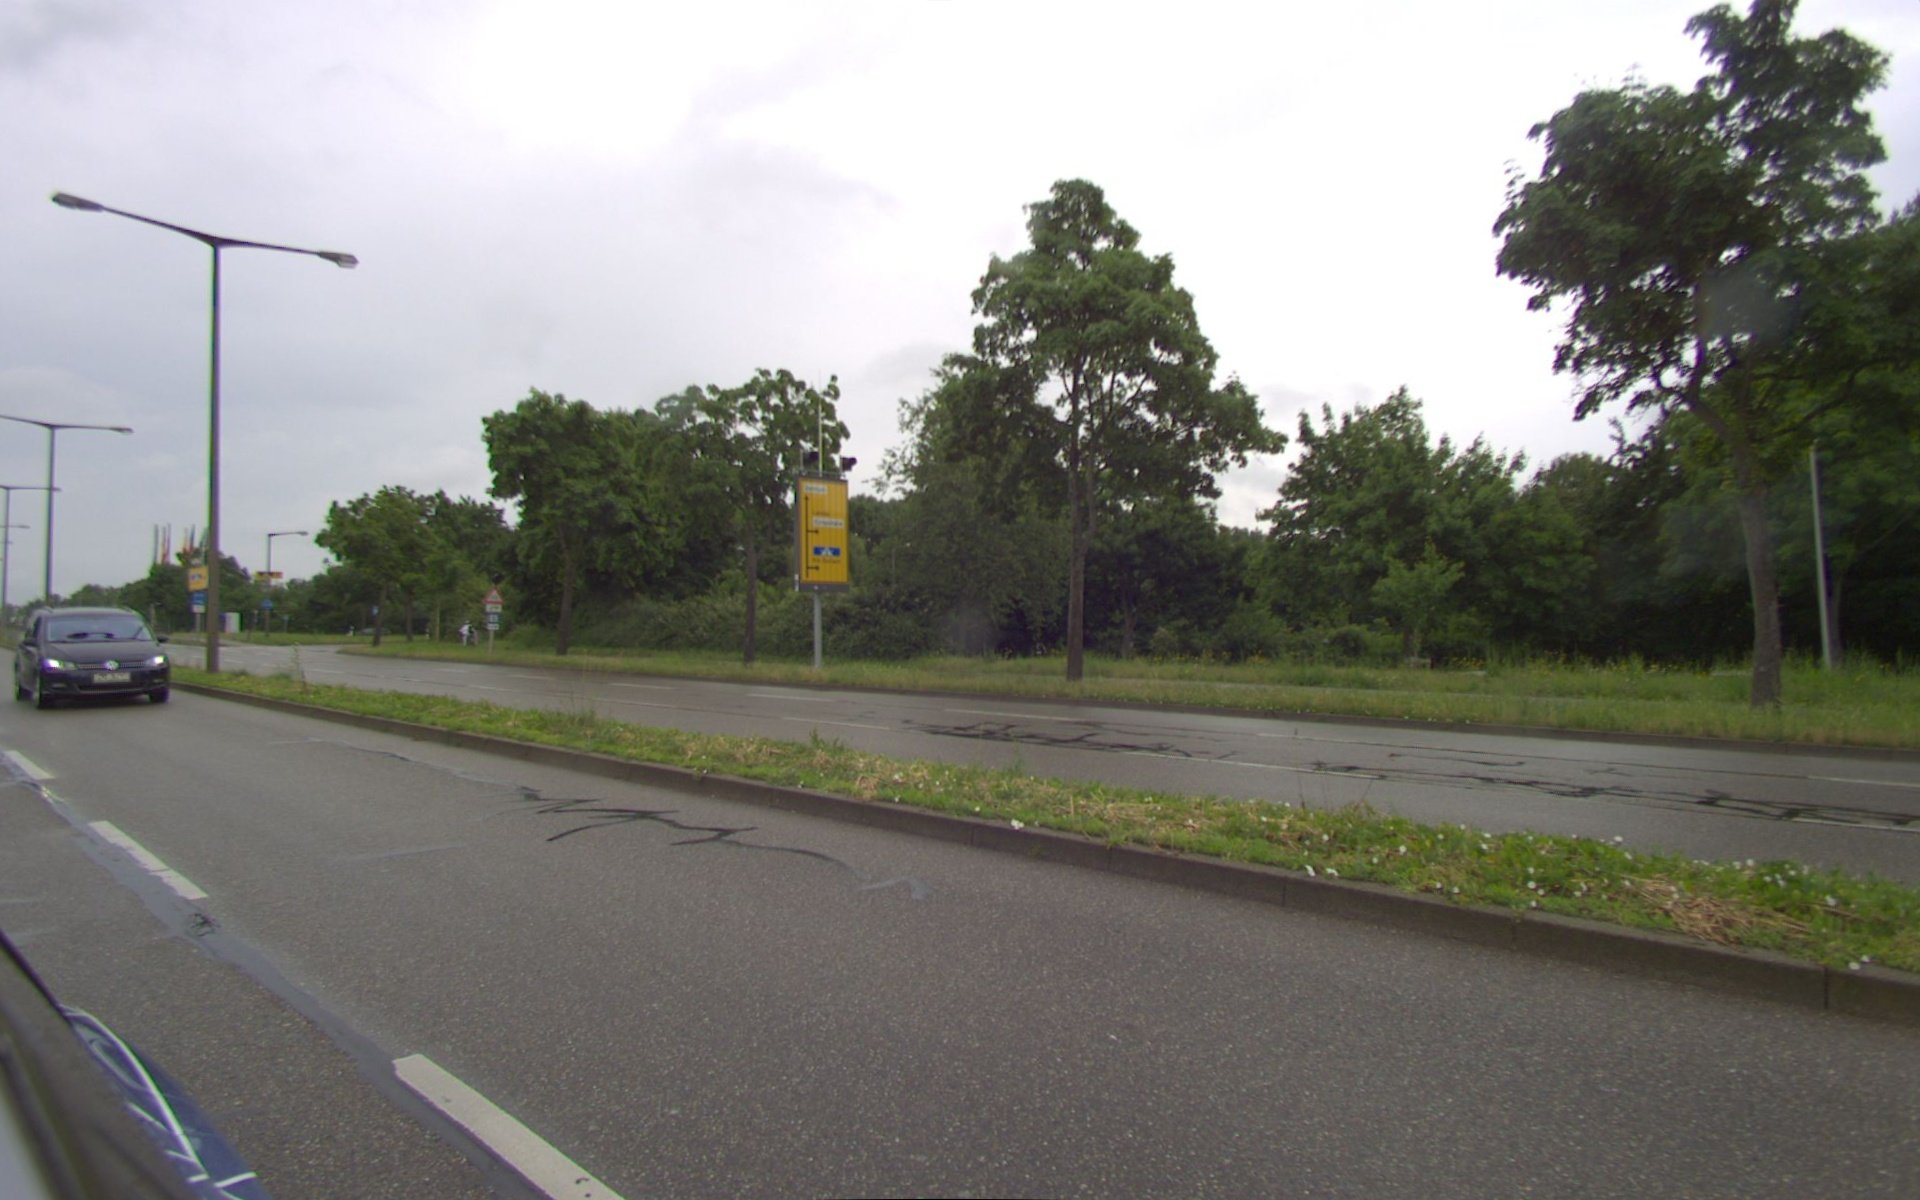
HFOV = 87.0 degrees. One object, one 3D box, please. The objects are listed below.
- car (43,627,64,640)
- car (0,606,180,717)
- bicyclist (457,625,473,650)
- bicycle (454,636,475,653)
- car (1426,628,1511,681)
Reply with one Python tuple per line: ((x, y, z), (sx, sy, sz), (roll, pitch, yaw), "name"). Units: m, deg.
((-120.346, 4.442, 134.344), (4.492, 1.642, 1.688), (-1, -4, 43), "car")
((-15.882, 1.029, 18.340), (4.814, 1.764, 1.827), (-1, -2, 40), "car")
((-27.182, 2.061, 55.539), (0.808, 1.312, 0.516), (-1, -1, 44), "bicyclist")
((-27.179, 2.446, 55.538), (1.634, 0.892, 0.516), (-1, -1, 44), "bicycle")
((17.480, 1.824, 34.724), (1.996, 1.698, 3.951), (-2, -2, 36), "car")
